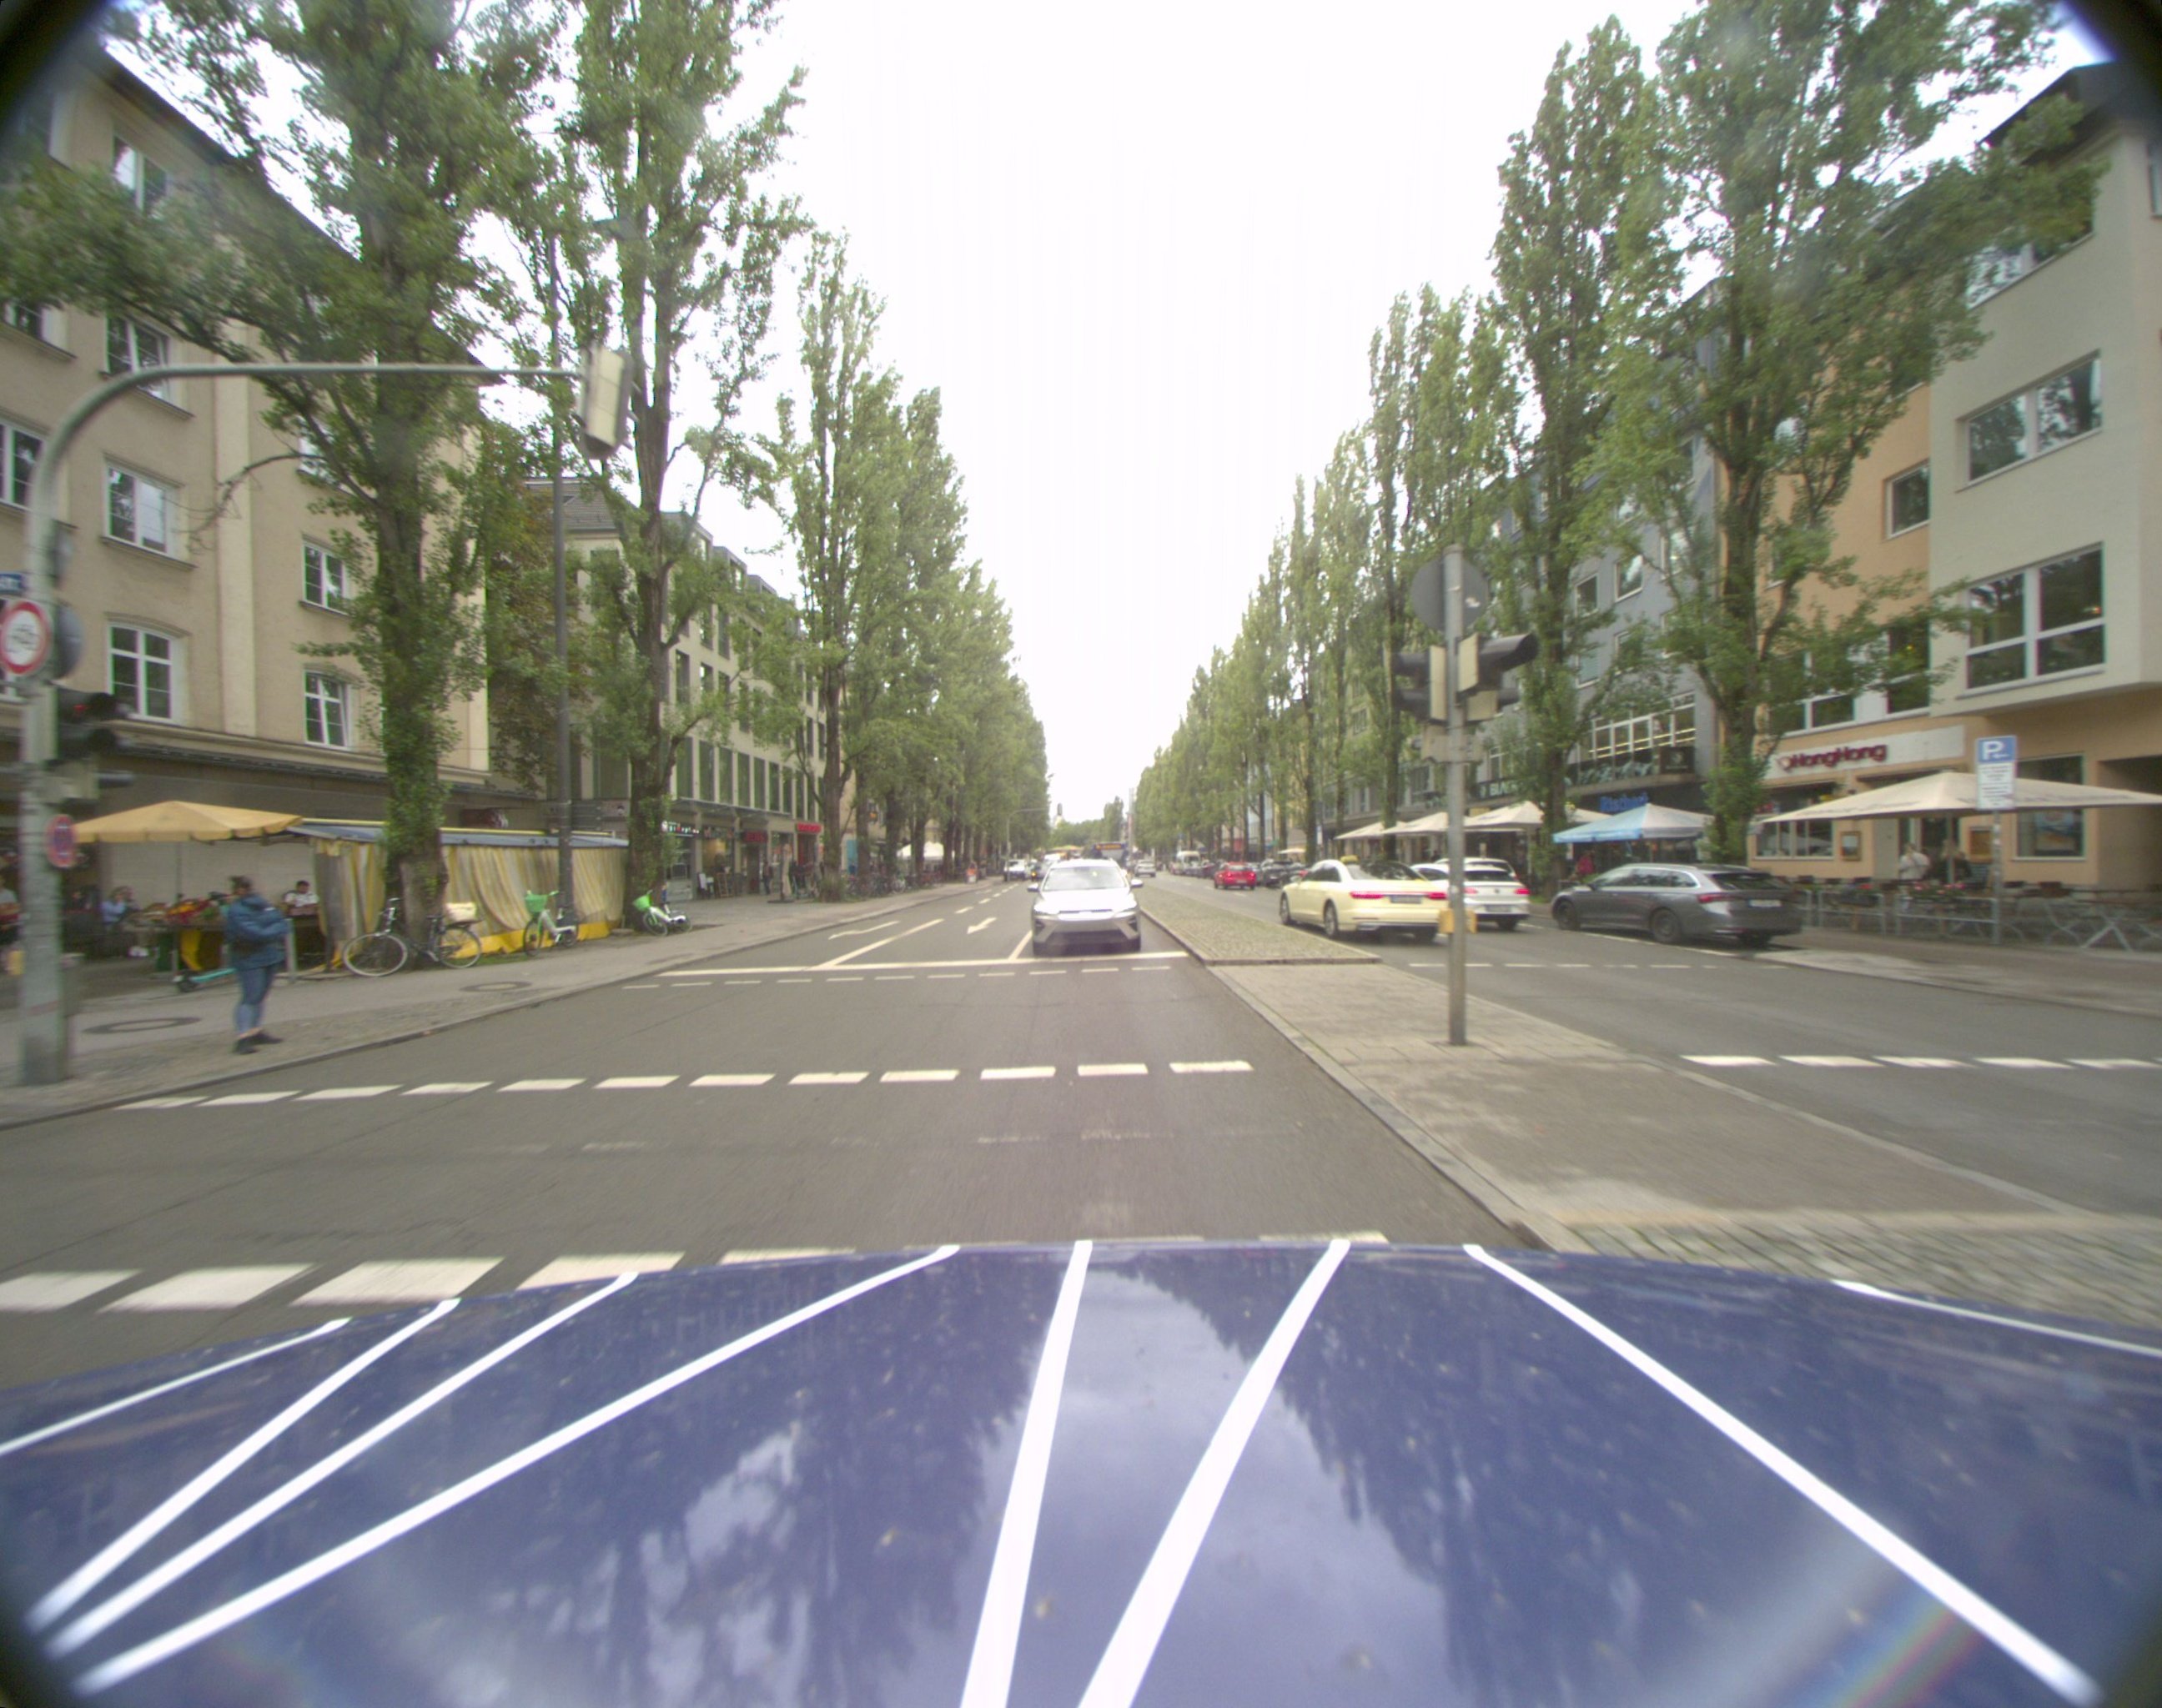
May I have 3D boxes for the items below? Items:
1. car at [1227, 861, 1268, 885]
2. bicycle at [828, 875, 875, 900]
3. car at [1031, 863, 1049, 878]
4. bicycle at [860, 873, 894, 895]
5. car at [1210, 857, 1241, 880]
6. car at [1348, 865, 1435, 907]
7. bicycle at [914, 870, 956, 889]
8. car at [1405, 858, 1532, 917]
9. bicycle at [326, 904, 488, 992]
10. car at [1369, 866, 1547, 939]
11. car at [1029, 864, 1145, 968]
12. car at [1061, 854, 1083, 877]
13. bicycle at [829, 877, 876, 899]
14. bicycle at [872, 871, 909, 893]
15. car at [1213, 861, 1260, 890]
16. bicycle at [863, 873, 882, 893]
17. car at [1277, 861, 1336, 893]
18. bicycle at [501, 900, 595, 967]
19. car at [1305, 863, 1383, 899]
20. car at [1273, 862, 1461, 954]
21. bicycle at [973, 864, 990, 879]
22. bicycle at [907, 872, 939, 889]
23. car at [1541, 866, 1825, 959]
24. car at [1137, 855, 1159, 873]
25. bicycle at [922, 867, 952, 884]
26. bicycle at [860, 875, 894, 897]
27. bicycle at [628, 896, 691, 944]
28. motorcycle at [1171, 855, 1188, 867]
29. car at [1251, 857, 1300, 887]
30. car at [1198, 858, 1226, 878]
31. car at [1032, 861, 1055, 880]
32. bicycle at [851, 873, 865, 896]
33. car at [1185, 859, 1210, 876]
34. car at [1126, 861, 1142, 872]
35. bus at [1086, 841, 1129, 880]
[{"bbox_3d":[11.021,1.235,50.626,1.662,1.409,4.400,0,0,-1],"label":"car"},{"bbox_3d":[-10.408,1.505,34.471,2.006,1.077,0.285,-1,0,-15],"label":"bicycle"},{"bbox_3d":[-3.995,1.630,74.409,1.476,1.388,3.483,-1,0,1],"label":"car"},{"bbox_3d":[-10.518,1.545,39.223,1.666,1.100,0.396,-1,0,-11],"label":"bicycle"},{"bbox_3d":[11.579,1.142,61.049,1.622,1.677,3.770,1,0,-2],"label":"car"},{"bbox_3d":[11.254,1.110,27.828,1.497,1.373,4.186,0,0,0],"label":"car"},{"bbox_3d":[-9.756,1.707,50.823,2.577,1.208,0.965,-1,0,0],"label":"bicycle"},{"bbox_3d":[11.415,0.922,22.714,1.707,1.574,4.096,0,0,0],"label":"car"},{"bbox_3d":[-10.087,1.376,11.473,0.405,1.064,1.813,-6,-1,16],"label":"bicycle"},{"bbox_3d":[8.464,1.016,17.612,1.827,1.399,4.632,0,0,0],"label":"car"},{"bbox_3d":[0.078,0.979,13.661,1.758,1.529,3.916,-1,0,0],"label":"car"},{"bbox_3d":[-0.899,1.124,77.309,2.025,2.235,4.411,-2,0,0],"label":"car"},{"bbox_3d":[-10.447,1.543,34.787,2.006,0.939,0.285,-1,0,-15],"label":"bicycle"},{"bbox_3d":[-10.118,1.484,40.438,1.871,1.128,0.339,-1,0,-8],"label":"bicycle"},{"bbox_3d":[8.352,1.120,41.082,1.741,1.429,3.823,0,0,0],"label":"car"},{"bbox_3d":[-11.862,1.626,43.339,0.392,1.057,2.006,0,0,4],"label":"bicycle"},{"bbox_3d":[11.217,1.108,38.118,1.681,1.458,4.370,0,0,0],"label":"car"},{"bbox_3d":[-9.724,1.429,13.947,0.510,1.042,1.770,-1,0,-2],"label":"bicycle"},{"bbox_3d":[11.274,1.106,32.845,1.708,1.404,4.433,0,0,-2],"label":"car"},{"bbox_3d":[5.356,0.909,15.034,1.848,1.493,4.986,0,0,0],"label":"car"},{"bbox_3d":[-9.555,1.658,72.782,0.829,1.403,2.595,-2,0,-26],"label":"bicycle"},{"bbox_3d":[-9.416,1.559,45.302,1.842,1.003,0.393,0,0,9],"label":"bicycle"},{"bbox_3d":[11.186,0.993,14.653,1.708,1.430,4.589,0,0,-2],"label":"car"},{"bbox_3d":[6.486,0.966,74.158,1.848,1.626,4.576,1,0,1],"label":"car"},{"bbox_3d":[-9.891,1.489,52.274,1.902,1.120,0.686,-1,0,0],"label":"bicycle"},{"bbox_3d":[-10.433,1.632,38.848,1.679,1.110,0.286,-1,0,-12],"label":"bicycle"},{"bbox_3d":[-9.828,1.522,17.783,0.510,0.970,1.770,-1,0,-2],"label":"bicycle"},{"bbox_3d":[12.331,0.851,95.009,2.023,1.413,0.570,-1,0,-7],"label":"motorcycle"},{"bbox_3d":[11.322,1.008,44.454,1.784,1.670,4.586,0,0,1],"label":"car"},{"bbox_3d":[11.342,1.219,66.009,1.707,1.623,4.503,0,0,0],"label":"car"},{"bbox_3d":[-3.213,1.443,66.283,1.758,1.529,3.916,-2,0,0],"label":"car"},{"bbox_3d":[-10.767,1.459,36.707,0.435,1.055,2.003,-1,0,-10],"label":"bicycle"},{"bbox_3d":[11.399,1.283,74.637,1.707,1.520,4.260,0,0,-2],"label":"car"},{"bbox_3d":[6.776,1.565,97.268,1.841,1.353,4.176,1,0,0],"label":"car"},{"bbox_3d":[2.048,0.511,63.171,2.806,2.886,12.856,-1,0,-1],"label":"bus"}]
